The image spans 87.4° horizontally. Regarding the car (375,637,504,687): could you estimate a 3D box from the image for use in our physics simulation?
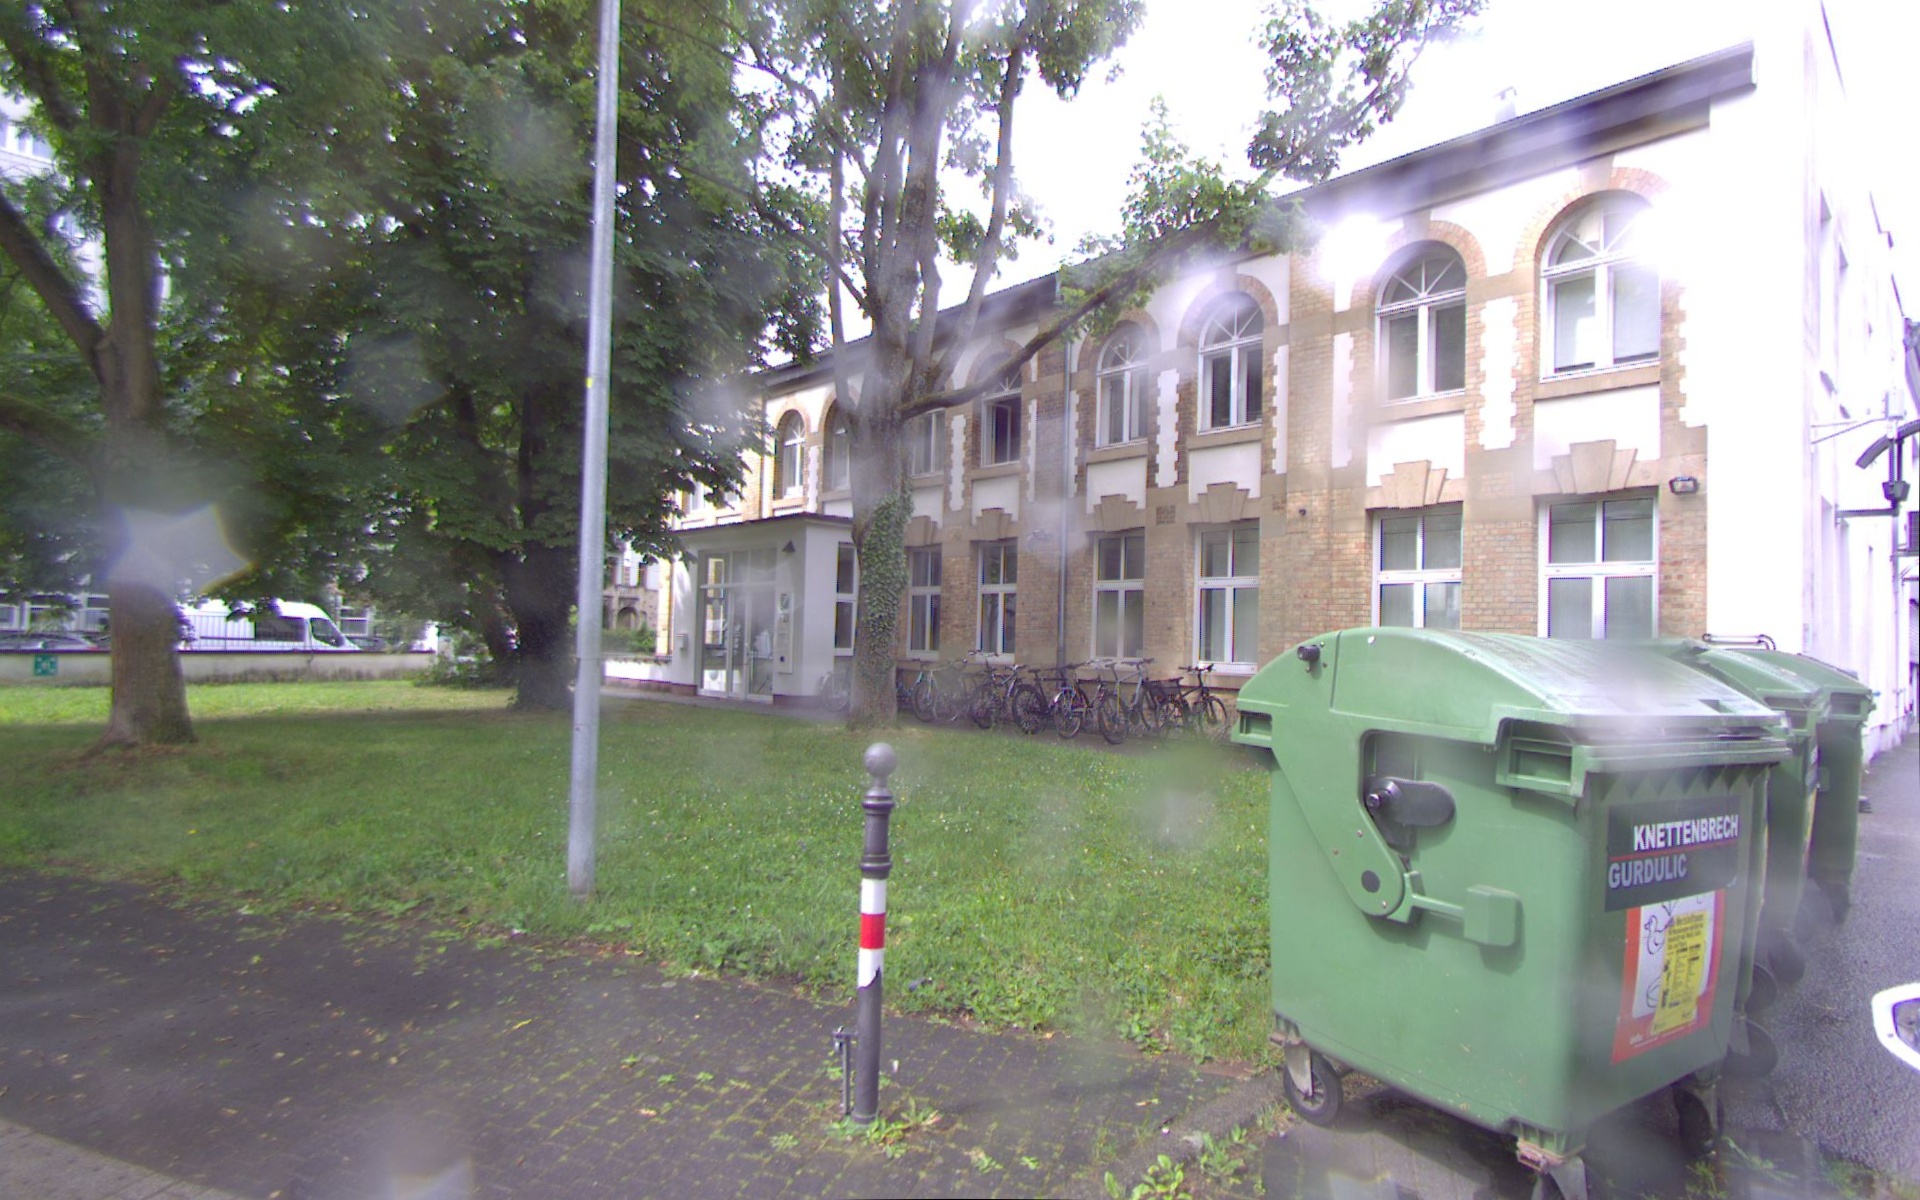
[{"bbox_3d":[-17.127,2.065,33.224,1.877,1.571,3.371,-1,-4,20],"label":"car"}]

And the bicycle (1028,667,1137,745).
[{"bbox_3d":[1.915,1.619,15.502,1.914,1.130,0.609,5,-5,-44],"label":"bicycle"}]

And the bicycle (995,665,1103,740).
[{"bbox_3d":[1.445,1.622,16.049,1.914,1.130,0.609,5,-5,-44],"label":"bicycle"}]

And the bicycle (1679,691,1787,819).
[{"bbox_3d":[7.553,1.464,9.793,1.510,1.130,0.609,5,-5,-44],"label":"bicycle"}]

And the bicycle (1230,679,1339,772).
[{"bbox_3d":[4.270,1.614,13.159,1.777,1.130,0.609,5,-5,-44],"label":"bicycle"}]

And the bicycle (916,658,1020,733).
[{"bbox_3d":[0.162,1.608,17.294,1.914,1.192,0.609,3,-3,-44],"label":"bicycle"}]

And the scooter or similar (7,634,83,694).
[{"bbox_3d":[-20.585,1.449,22.609,1.127,1.293,0.426,2,-5,-7],"label":"scooter or similar"}]

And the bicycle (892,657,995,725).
[{"bbox_3d":[-0.267,1.613,17.843,1.914,1.130,0.609,5,-5,-44],"label":"bicycle"}]

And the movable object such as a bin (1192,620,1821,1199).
[{"bbox_3d":[1.634,0.840,3.015,1.470,1.492,1.094,3,-2,-34],"label":"movable object such as a bin"}]

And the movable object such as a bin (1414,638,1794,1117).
[{"bbox_3d":[2.675,0.921,4.135,1.150,1.503,1.396,0,-1,39],"label":"movable object such as a bin"}]

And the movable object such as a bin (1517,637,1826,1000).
[{"bbox_3d":[3.662,0.958,5.142,1.151,1.502,1.395,0,-2,42],"label":"movable object such as a bin"}]

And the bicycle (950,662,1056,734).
[{"bbox_3d":[0.746,1.627,16.755,1.914,1.130,0.609,5,-5,-44],"label":"bicycle"}]

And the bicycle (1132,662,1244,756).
[{"bbox_3d":[3.246,1.518,14.200,1.914,1.240,0.609,5,-5,-44],"label":"bicycle"}]

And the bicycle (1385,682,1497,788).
[{"bbox_3d":[5.641,1.543,11.747,1.777,1.130,0.609,5,-5,-44],"label":"bicycle"}]

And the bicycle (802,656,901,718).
[{"bbox_3d":[-2.074,1.678,19.411,1.914,1.130,0.609,5,-5,-44],"label":"bicycle"}]

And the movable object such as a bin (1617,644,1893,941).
[{"bbox_3d":[4.793,1.047,6.084,1.151,1.502,1.490,-3,-5,41],"label":"movable object such as a bin"}]

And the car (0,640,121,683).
[{"bbox_3d":[-32.757,2.175,35.672,4.150,1.471,1.803,1,-3,-26],"label":"car"}]

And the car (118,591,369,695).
[{"bbox_3d":[-19.141,1.217,27.223,2.098,2.542,5.276,-1,-4,18],"label":"car"}]

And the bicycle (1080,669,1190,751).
[{"bbox_3d":[2.618,1.604,14.864,1.914,1.130,0.609,5,-5,-44],"label":"bicycle"}]

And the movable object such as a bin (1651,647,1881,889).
[{"bbox_3d":[5.825,1.121,7.281,1.151,1.502,1.587,-2,-5,41],"label":"movable object such as a bin"}]

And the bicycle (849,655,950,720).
[{"bbox_3d":[-1.085,1.593,18.391,1.914,1.130,0.609,5,-5,-44],"label":"bicycle"}]
